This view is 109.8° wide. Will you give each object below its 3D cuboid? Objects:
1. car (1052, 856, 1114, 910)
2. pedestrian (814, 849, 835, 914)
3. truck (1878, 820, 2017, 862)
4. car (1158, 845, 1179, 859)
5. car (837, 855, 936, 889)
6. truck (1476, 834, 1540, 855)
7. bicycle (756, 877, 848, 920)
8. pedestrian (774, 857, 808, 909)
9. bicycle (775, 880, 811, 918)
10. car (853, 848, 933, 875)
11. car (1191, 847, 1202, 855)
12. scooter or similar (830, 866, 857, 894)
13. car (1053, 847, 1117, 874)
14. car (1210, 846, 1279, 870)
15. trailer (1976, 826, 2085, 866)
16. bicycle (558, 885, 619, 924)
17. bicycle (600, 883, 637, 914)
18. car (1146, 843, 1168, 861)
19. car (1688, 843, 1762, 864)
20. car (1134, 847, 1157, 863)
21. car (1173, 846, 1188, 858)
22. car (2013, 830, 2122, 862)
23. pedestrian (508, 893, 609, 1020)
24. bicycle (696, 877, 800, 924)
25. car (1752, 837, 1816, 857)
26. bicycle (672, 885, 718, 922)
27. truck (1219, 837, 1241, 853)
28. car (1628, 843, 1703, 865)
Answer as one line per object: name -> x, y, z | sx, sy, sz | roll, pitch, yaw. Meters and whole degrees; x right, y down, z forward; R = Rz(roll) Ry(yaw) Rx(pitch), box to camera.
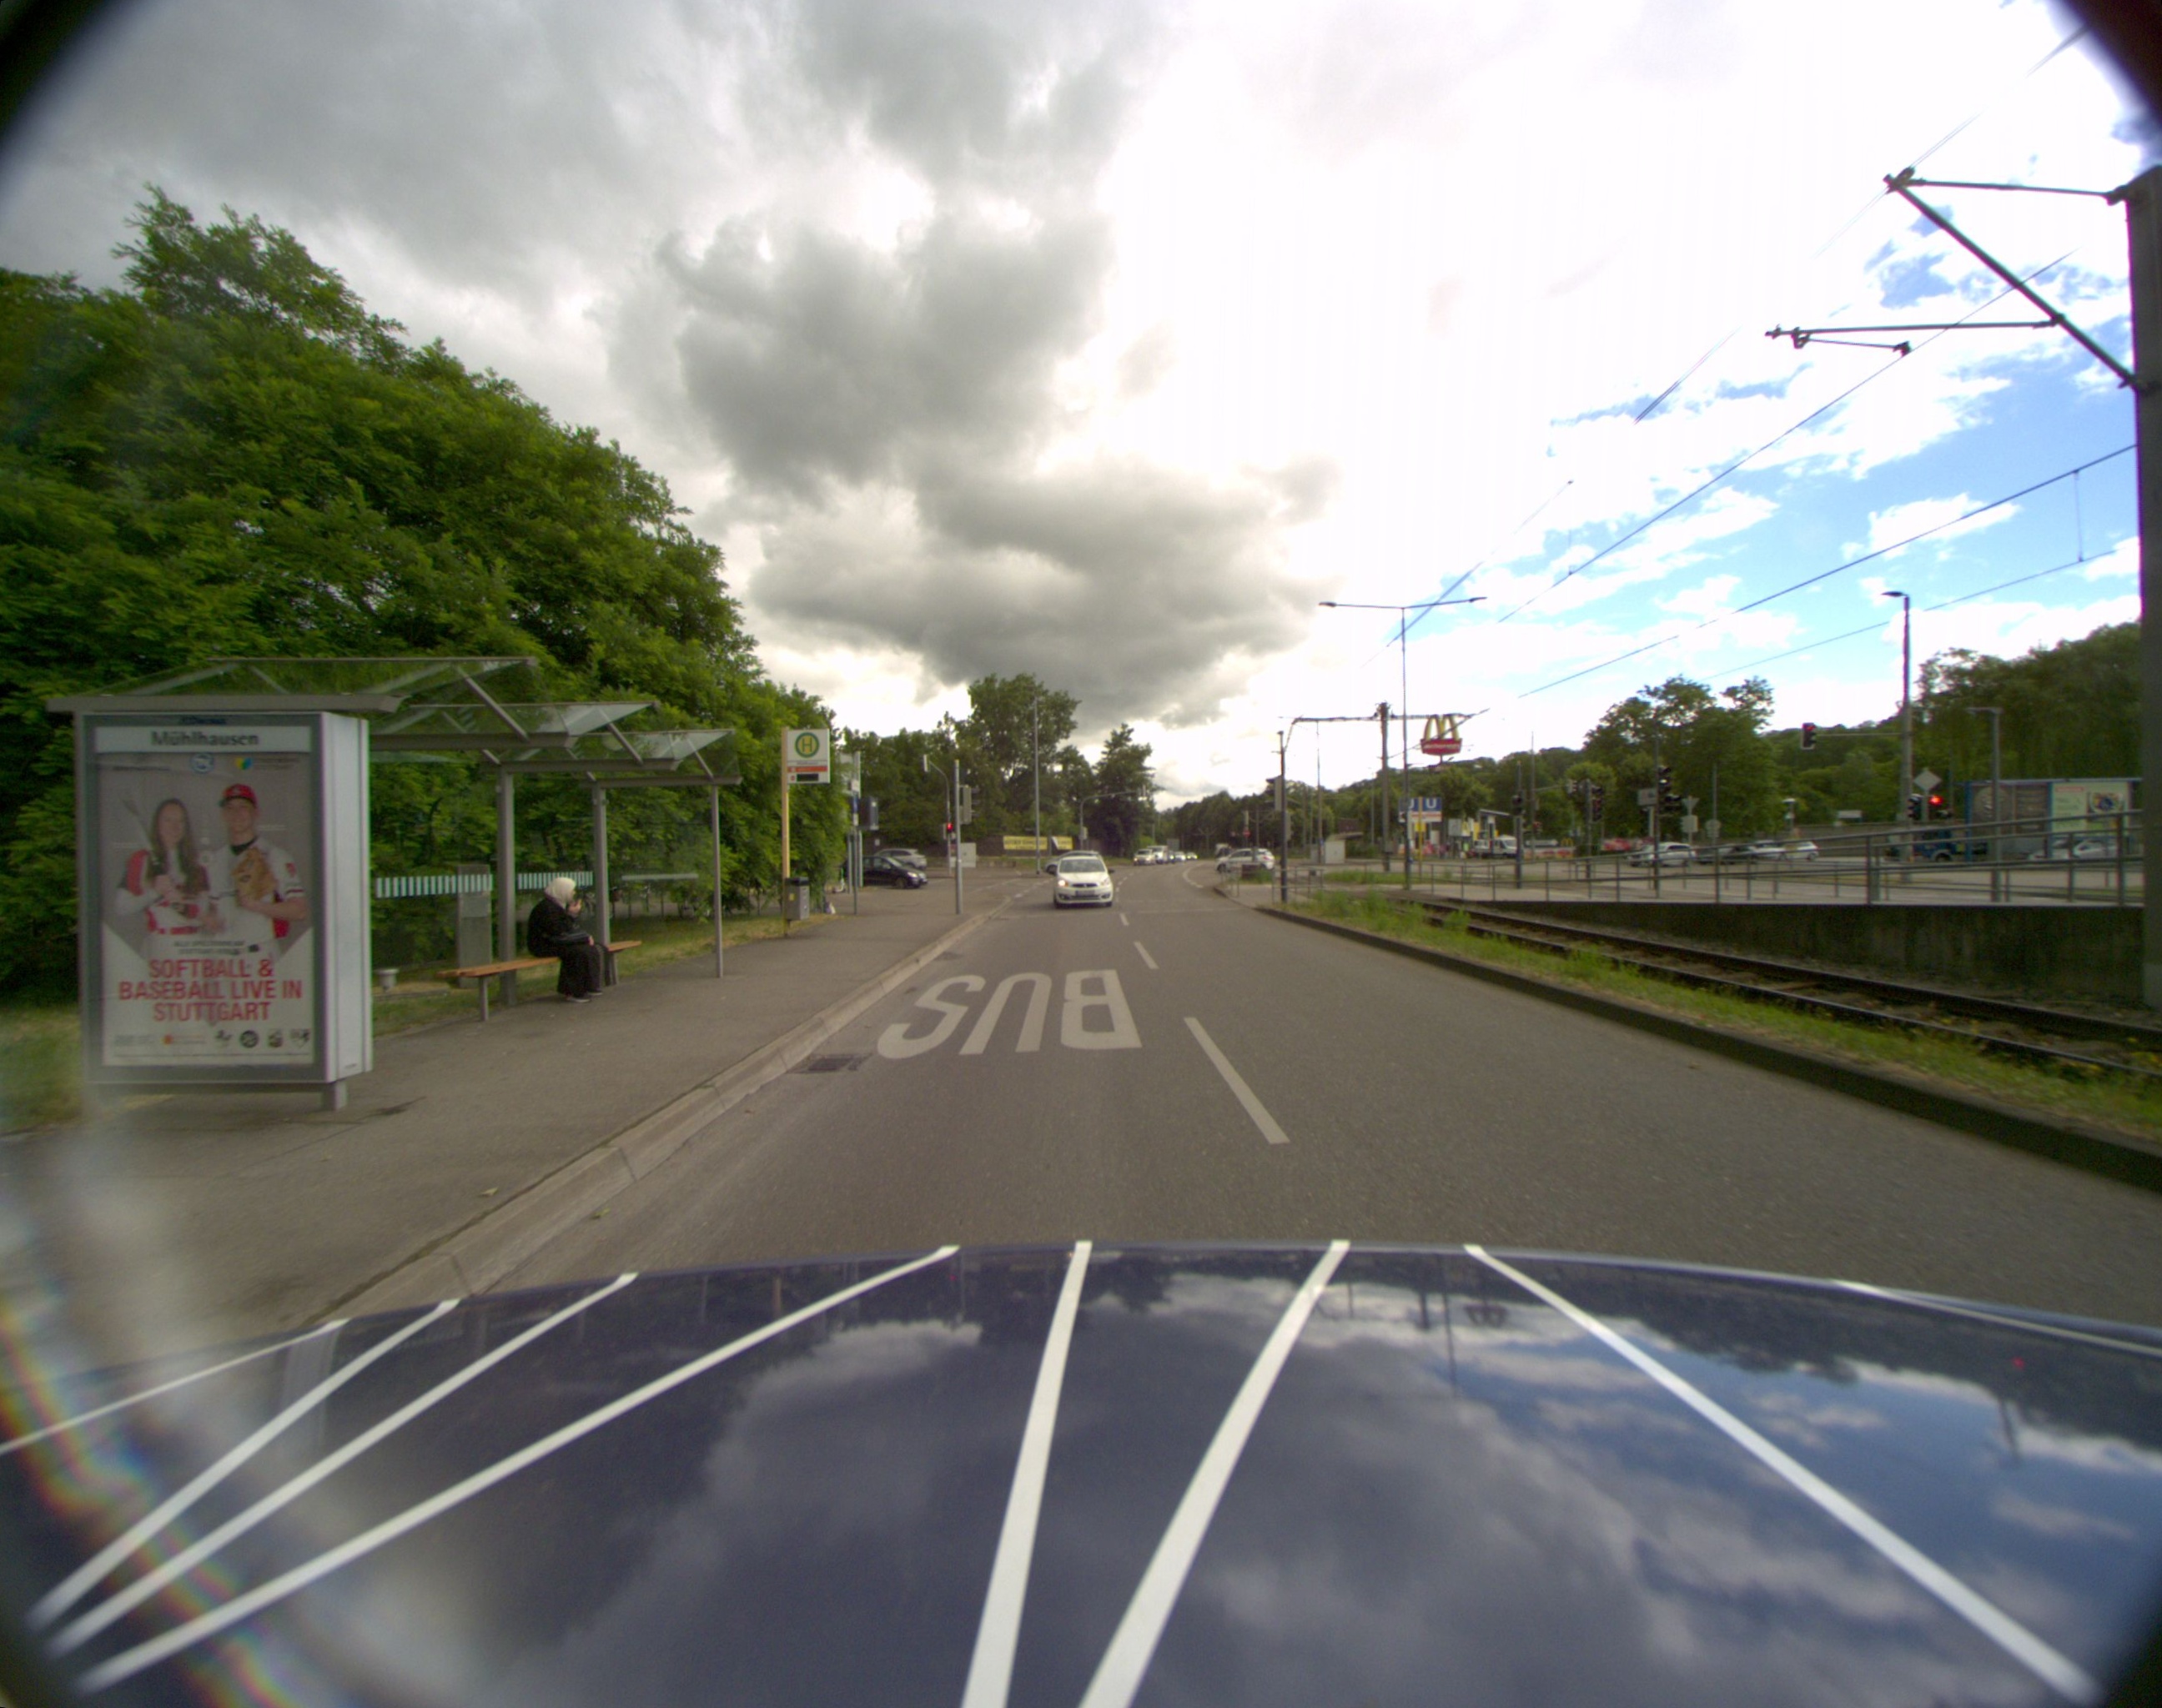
car -> -0.008, 0.833, 23.534 | 1.674, 1.439, 3.603 | -3, 0, -3
pedestrian -> -7.108, 0.744, 21.058 | 0.420, 1.744, 0.688 | -2, 2, -23
truck -> 54.153, -0.813, 47.588 | 5.820, 2.480, 2.386 | -1, 1, 2
car -> 9.977, -0.230, 86.390 | 1.996, 1.527, 4.003 | 1, 1, 12
car -> -9.258, 0.834, 36.281 | 4.180, 1.522, 1.723 | -1, 1, 11
truck -> 40.664, -0.892, 72.620 | 2.599, 1.894, 6.197 | 1, 1, 0
bicycle -> -6.371, 1.006, 17.380 | 1.871, 0.919, 0.545 | -1, 1, 1
pedestrian -> -8.524, 0.849, 22.361 | 0.755, 1.505, 0.671 | 0, 1, 0
bicycle -> -7.376, 1.123, 19.510 | 0.524, 0.901, 1.850 | 0, -1, -10
car -> -12.384, 0.495, 50.220 | 4.852, 1.633, 1.676 | -2, 0, -2
car -> 21.880, -0.582, 143.799 | 1.965, 1.543, 4.002 | 1, 1, 9
scooter or similar -> -9.938, 1.073, 31.847 | 0.654, 1.105, 1.231 | -1, 1, 3
car -> 0.321, 0.418, 50.185 | 4.120, 1.631, 1.751 | -1, 1, 3
car -> 10.109, 0.240, 46.992 | 3.819, 1.446, 1.635 | 0, 1, 30
trailer -> 55.849, -0.482, 44.748 | 4.389, 2.245, 1.560 | 1, 1, 0
bicycle -> -12.263, 1.243, 18.980 | 0.478, 0.851, 1.738 | -2, 0, -5
bicycle -> -18.759, 1.802, 30.880 | 0.582, 1.110, 1.813 | 1, 1, -7
car -> 7.816, -0.246, 77.918 | 1.807, 1.814, 4.003 | -1, 1, 12
car -> 47.208, -0.049, 55.728 | 4.284, 1.424, 1.795 | -1, 1, -9
car -> 6.138, 0.050, 71.543 | 1.718, 1.410, 4.003 | 1, 1, 11
car -> 13.299, -0.298, 101.490 | 1.829, 1.543, 4.003 | 1, 1, 11
car -> 54.724, -0.442, 42.206 | 3.855, 1.733, 1.755 | -1, 1, -1
pedestrian -> -5.045, 0.969, 7.365 | 0.602, 1.151, 0.546 | 1, 1, 0
bicycle -> -7.018, 0.983, 16.033 | 2.040, 0.934, 0.592 | -2, 1, 14
car -> 55.273, -0.530, 59.754 | 3.640, 1.545, 1.726 | 0, 1, -6
bicycle -> -9.736, 1.234, 19.220 | 0.478, 0.803, 1.514 | -2, 0, -5
truck -> 34.202, -2.027, 174.691 | 3.435, 3.539, 8.698 | 1, 1, 1
car -> 41.844, 0.006, 54.416 | 4.419, 1.424, 1.794 | -1, 1, -13
